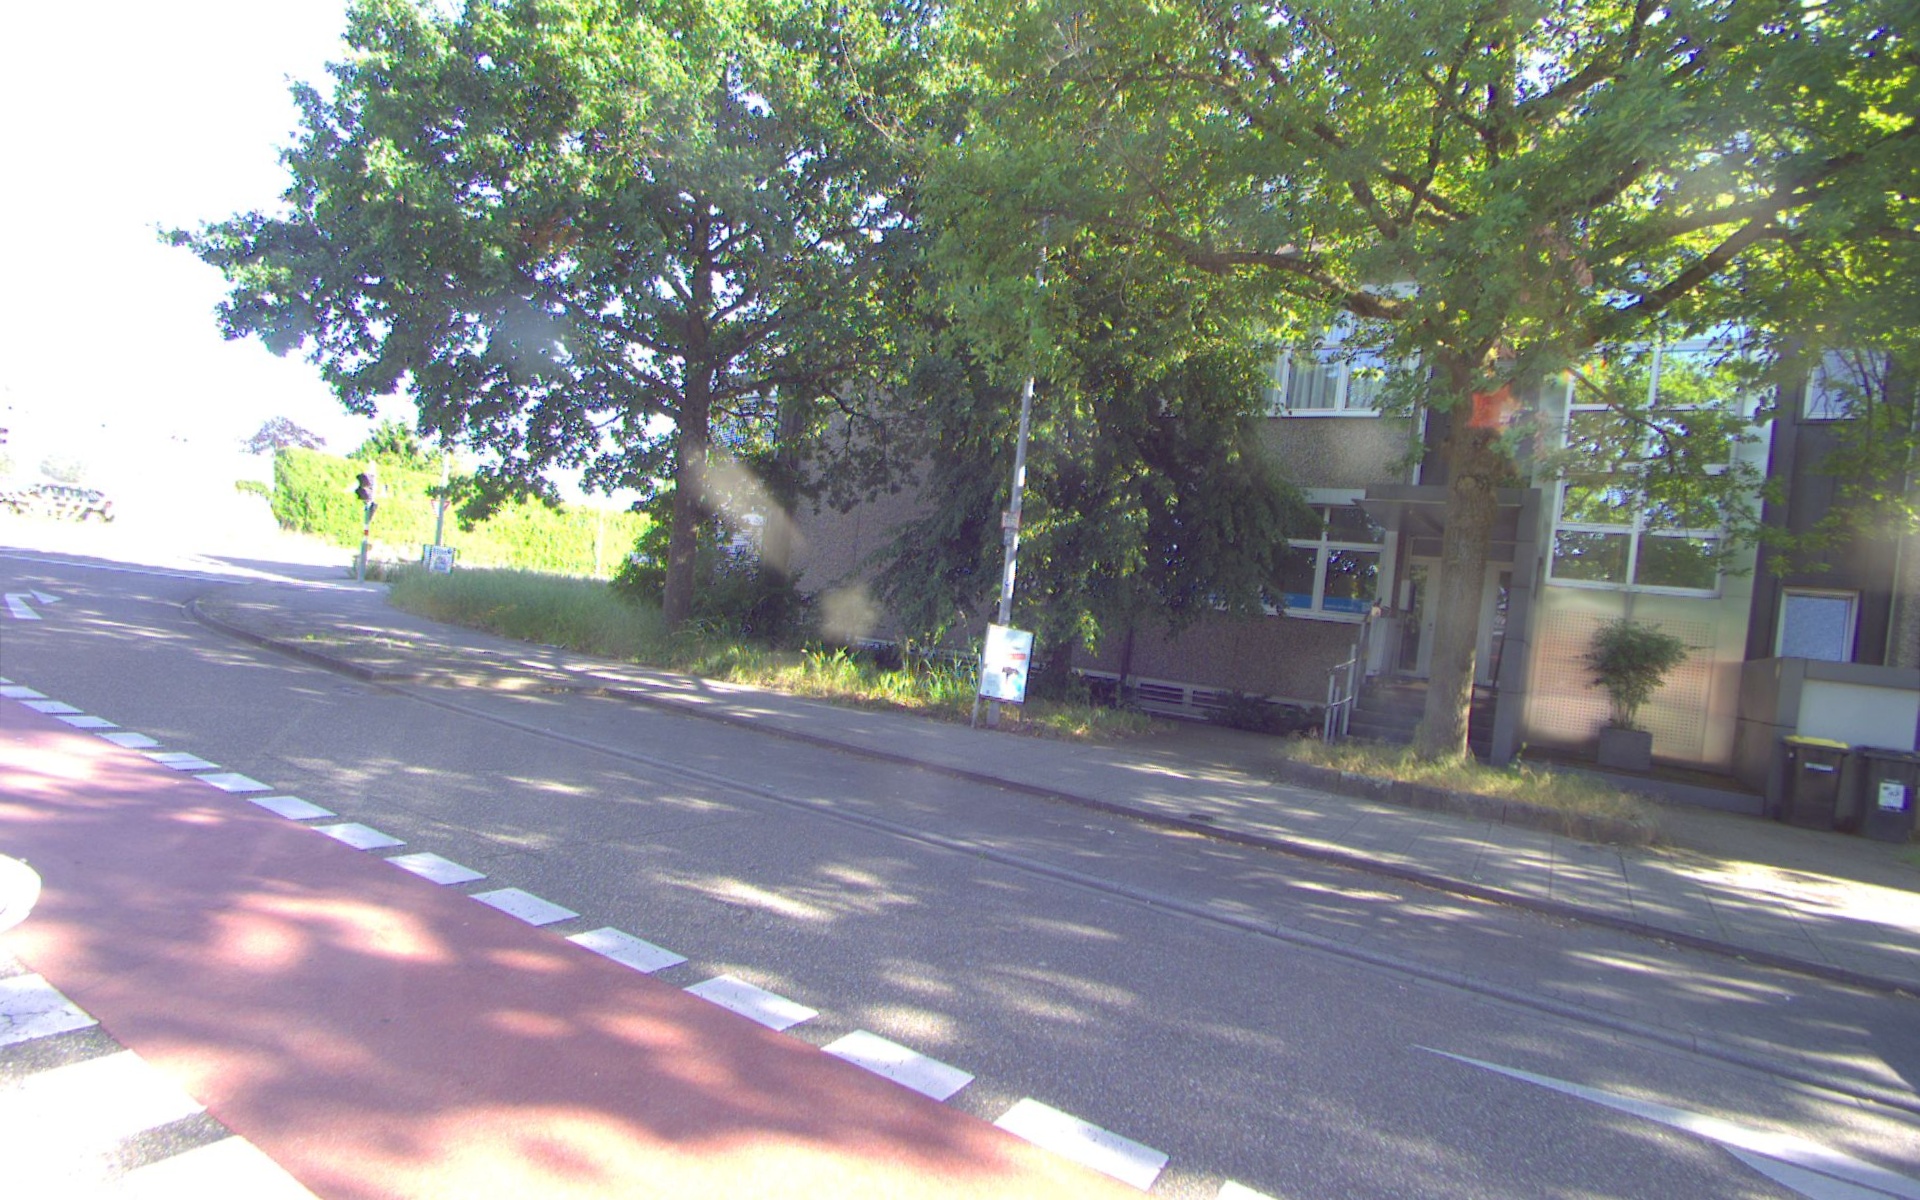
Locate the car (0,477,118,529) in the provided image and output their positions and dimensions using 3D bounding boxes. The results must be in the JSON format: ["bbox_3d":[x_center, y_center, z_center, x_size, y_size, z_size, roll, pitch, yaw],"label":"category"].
[{"bbox_3d":[-33.860,-3.607,36.939,1.548,1.317,4.170,6,-2,28],"label":"car"}]

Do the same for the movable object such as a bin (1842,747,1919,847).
[{"bbox_3d":[10.784,2.277,11.732,0.566,1.019,0.629,6,-1,31],"label":"movable object such as a bin"}]

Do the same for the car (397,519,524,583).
[{"bbox_3d":[-13.855,-1.323,28.117,1.433,1.311,3.412,7,-2,7],"label":"car"}]

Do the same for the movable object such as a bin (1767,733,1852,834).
[{"bbox_3d":[10.165,2.177,12.064,0.571,1.045,0.713,7,0,31],"label":"movable object such as a bin"}]
